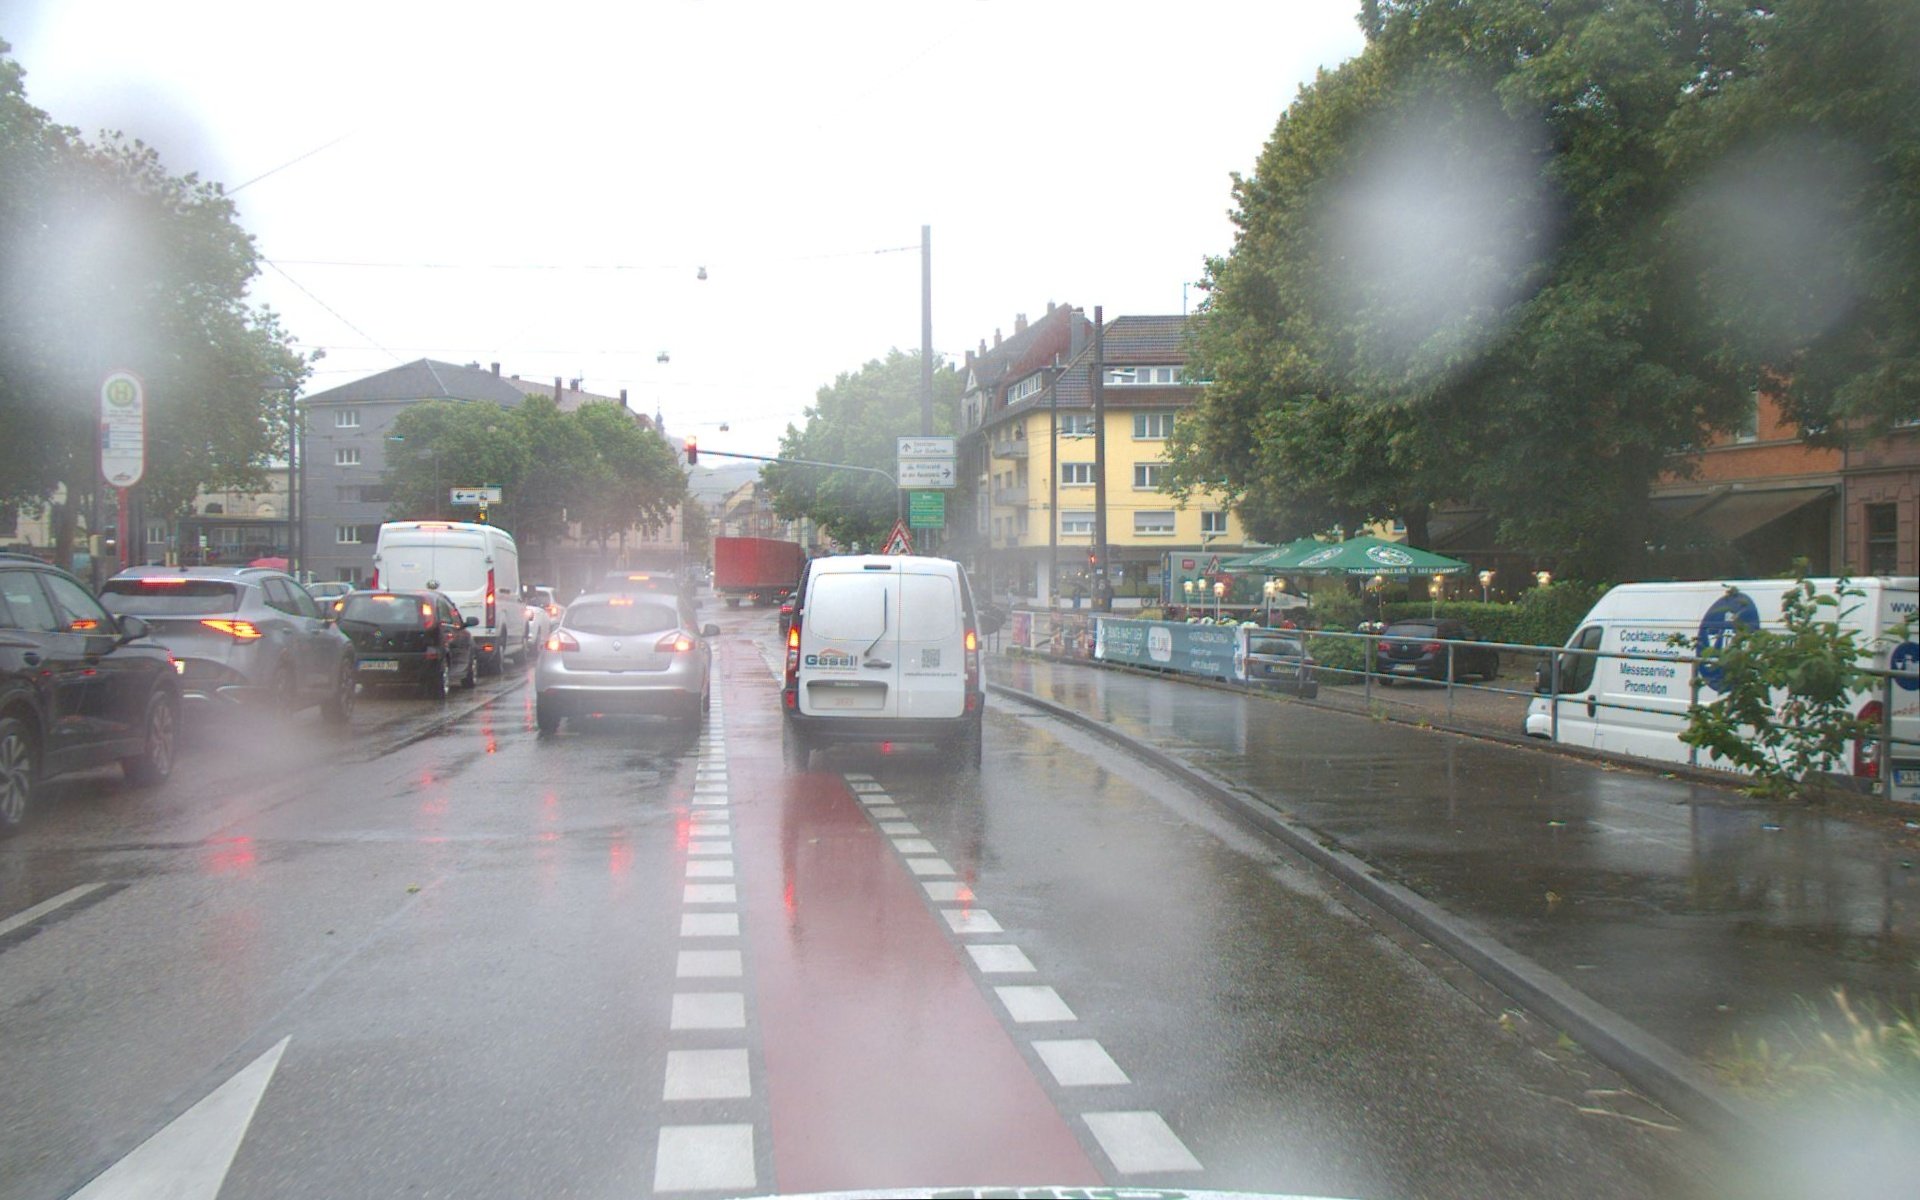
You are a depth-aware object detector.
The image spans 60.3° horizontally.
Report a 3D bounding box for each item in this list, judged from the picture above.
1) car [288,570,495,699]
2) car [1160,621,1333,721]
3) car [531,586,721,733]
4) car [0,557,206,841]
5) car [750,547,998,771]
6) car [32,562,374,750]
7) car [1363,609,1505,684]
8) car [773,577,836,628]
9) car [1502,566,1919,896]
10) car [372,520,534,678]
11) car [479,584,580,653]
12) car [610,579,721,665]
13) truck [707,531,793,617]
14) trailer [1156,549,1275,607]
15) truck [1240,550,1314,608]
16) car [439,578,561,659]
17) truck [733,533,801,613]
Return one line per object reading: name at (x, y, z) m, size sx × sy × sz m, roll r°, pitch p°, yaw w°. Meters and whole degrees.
car at (-7.882, 0.445, 23.353) m, size 1.956 × 1.606 × 4.284 m, roll 2°, pitch 0°, yaw -8°
car at (5.158, 1.229, 30.320) m, size 1.789 × 1.516 × 4.343 m, roll -1°, pitch 1°, yaw -9°
car at (-3.669, 0.622, 18.691) m, size 1.726 × 1.494 × 3.529 m, roll 1°, pitch 0°, yaw -6°
car at (-6.588, 0.536, 10.675) m, size 1.956 × 1.606 × 4.284 m, roll 2°, pitch 0°, yaw -8°
car at (-0.662, 0.501, 15.284) m, size 1.918 × 1.808 × 3.571 m, roll 0°, pitch -1°, yaw 3°
car at (-7.378, 0.497, 16.634) m, size 1.956 × 1.606 × 4.284 m, roll 2°, pitch 0°, yaw -8°
car at (11.065, 1.034, 38.457) m, size 1.854 × 1.504 × 3.983 m, roll 0°, pitch 2°, yaw 37°
car at (-5.027, 0.070, 53.784) m, size 1.954 × 1.569 × 3.997 m, roll 0°, pitch 0°, yaw -4°
car at (7.766, 0.982, 16.175) m, size 2.140 × 2.576 × 5.763 m, roll -1°, pitch 1°, yaw -11°
car at (-8.712, -0.014, 28.801) m, size 1.956 × 2.485 × 4.603 m, roll 1°, pitch 0°, yaw -8°
car at (-10.891, 0.448, 42.112) m, size 1.956 × 1.624 × 4.603 m, roll 2°, pitch 0°, yaw -8°
car at (-5.425, 0.397, 30.809) m, size 1.726 × 1.494 × 3.529 m, roll 1°, pitch 0°, yaw -6°
truck at (-12.940, -1.675, 103.006) m, size 3.209 × 4.985 × 11.407 m, roll -1°, pitch 1°, yaw 3°
trailer at (10.588, -0.892, 68.627) m, size 4.562 × 2.357 × 1.998 m, roll 0°, pitch -1°, yaw -5°
truck at (13.179, -0.869, 68.830) m, size 2.588 × 2.339 × 1.998 m, roll 0°, pitch -1°, yaw -5°
car at (-9.935, 0.382, 36.070) m, size 1.956 × 1.624 × 4.603 m, roll 2°, pitch 0°, yaw -8°
truck at (-12.597, -1.805, 108.611) m, size 3.209 × 4.985 × 7.185 m, roll -1°, pitch 1°, yaw 3°
